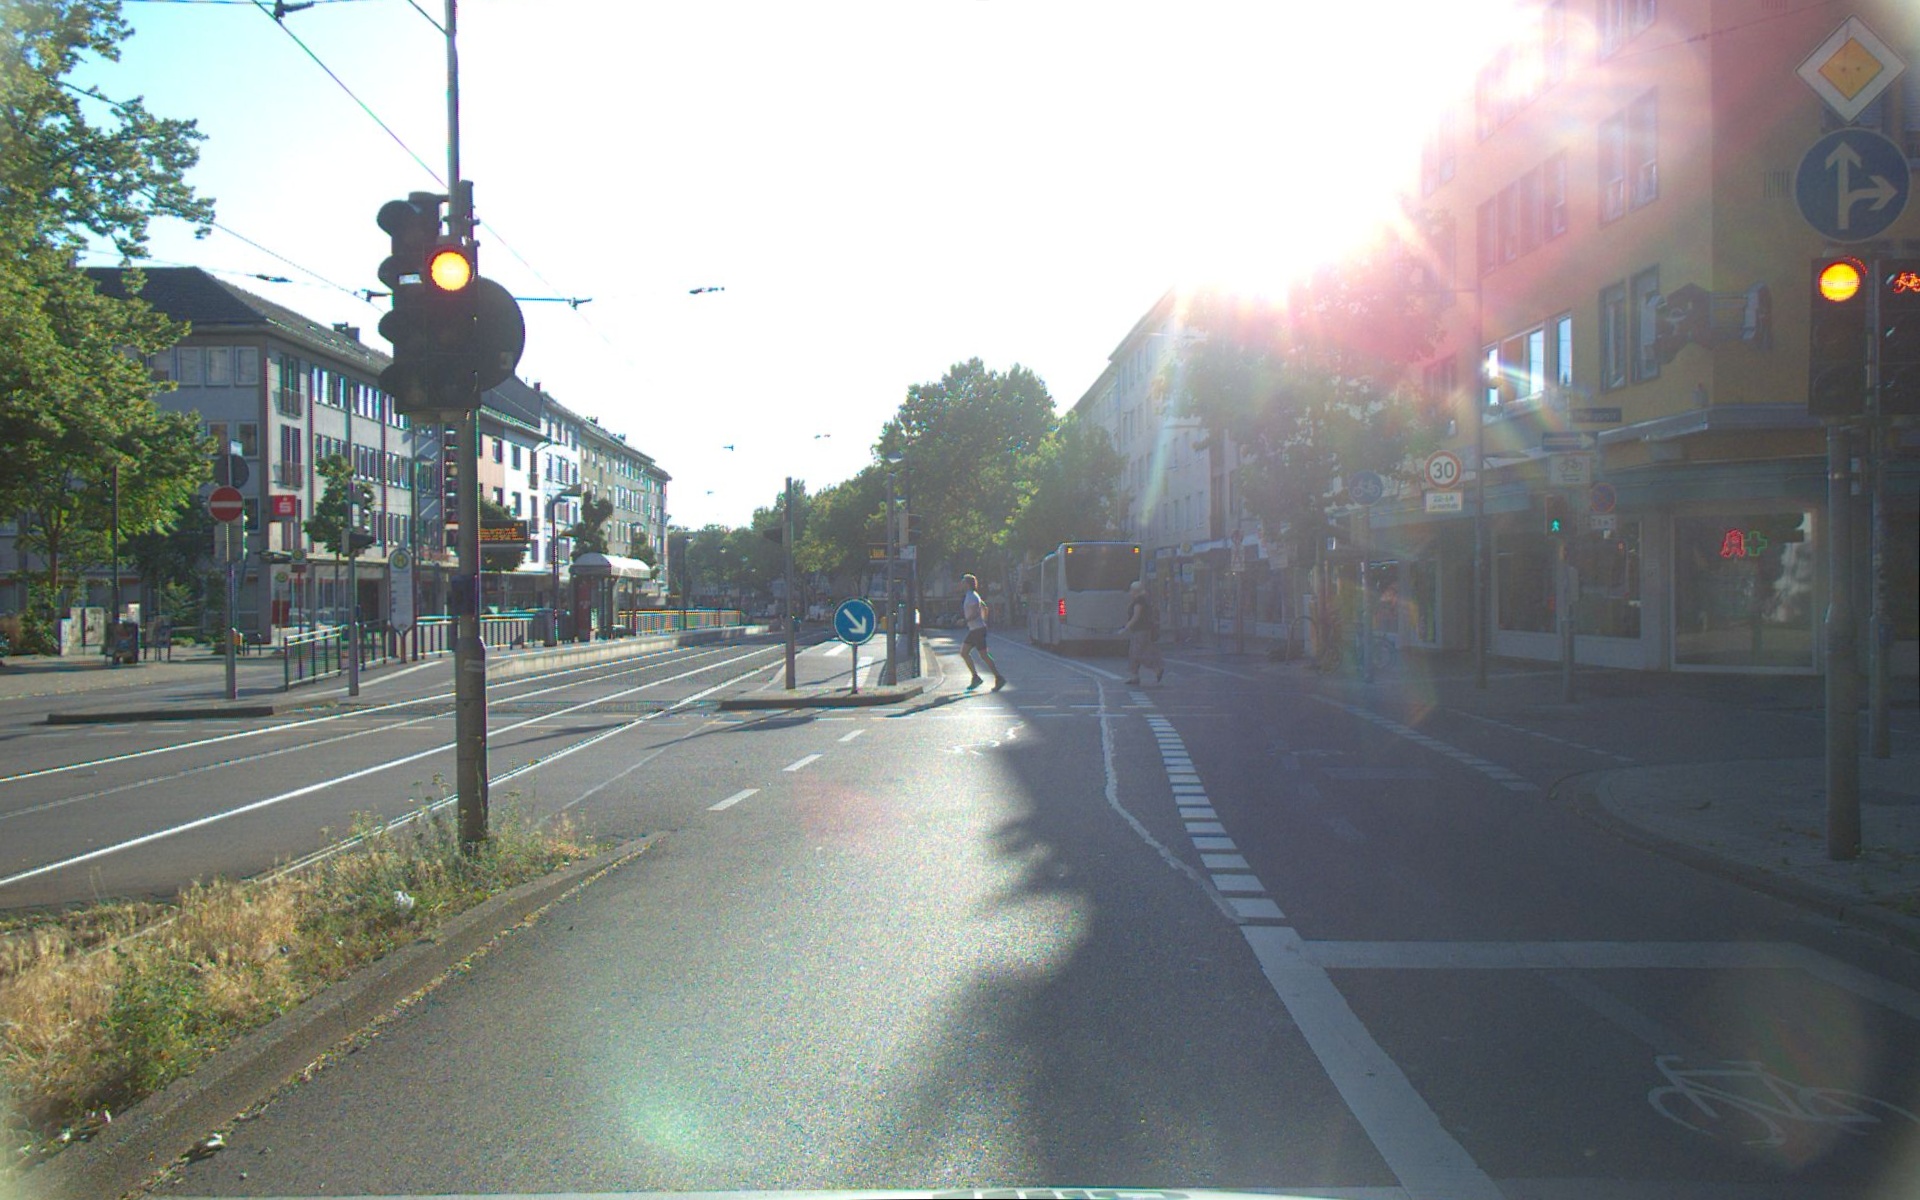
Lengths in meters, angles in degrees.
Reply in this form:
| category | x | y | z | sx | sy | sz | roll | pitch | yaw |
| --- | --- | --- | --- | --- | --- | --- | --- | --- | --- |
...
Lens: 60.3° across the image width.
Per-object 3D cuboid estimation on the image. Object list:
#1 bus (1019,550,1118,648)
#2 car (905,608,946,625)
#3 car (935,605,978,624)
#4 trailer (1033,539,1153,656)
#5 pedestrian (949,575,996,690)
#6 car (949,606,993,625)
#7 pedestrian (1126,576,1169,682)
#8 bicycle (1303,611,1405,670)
| category | x | y | z | sx | sy | sz | roll | pitch | yaw |
| --- | --- | --- | --- | --- | --- | --- | --- | --- | --- |
| bus | 3.742 | -0.033 | 58.991 | 2.755 | 3.156 | 9.092 | 1 | 0 | -1 |
| car | -3.498 | 1.619 | 166.483 | 3.848 | 1.624 | 1.674 | -1 | 0 | -30 |
| car | -0.328 | 1.397 | 161.160 | 3.848 | 1.729 | 1.815 | -1 | 0 | -30 |
| trailer | 3.872 | -0.060 | 50.050 | 2.755 | 3.165 | 8.792 | 1 | 0 | -1 |
| pedestrian | 0.197 | 0.509 | 26.310 | 0.666 | 1.801 | 0.686 | -1 | 0 | -5 |
| car | 1.026 | 1.483 | 158.539 | 3.848 | 1.729 | 1.815 | -1 | 0 | -30 |
| pedestrian | 3.235 | 0.498 | 28.587 | 0.666 | 1.801 | 0.687 | 0 | 0 | 0 |
| bicycle | 7.470 | 0.757 | 31.422 | 1.737 | 1.039 | 0.694 | -2 | 0 | -2 |
